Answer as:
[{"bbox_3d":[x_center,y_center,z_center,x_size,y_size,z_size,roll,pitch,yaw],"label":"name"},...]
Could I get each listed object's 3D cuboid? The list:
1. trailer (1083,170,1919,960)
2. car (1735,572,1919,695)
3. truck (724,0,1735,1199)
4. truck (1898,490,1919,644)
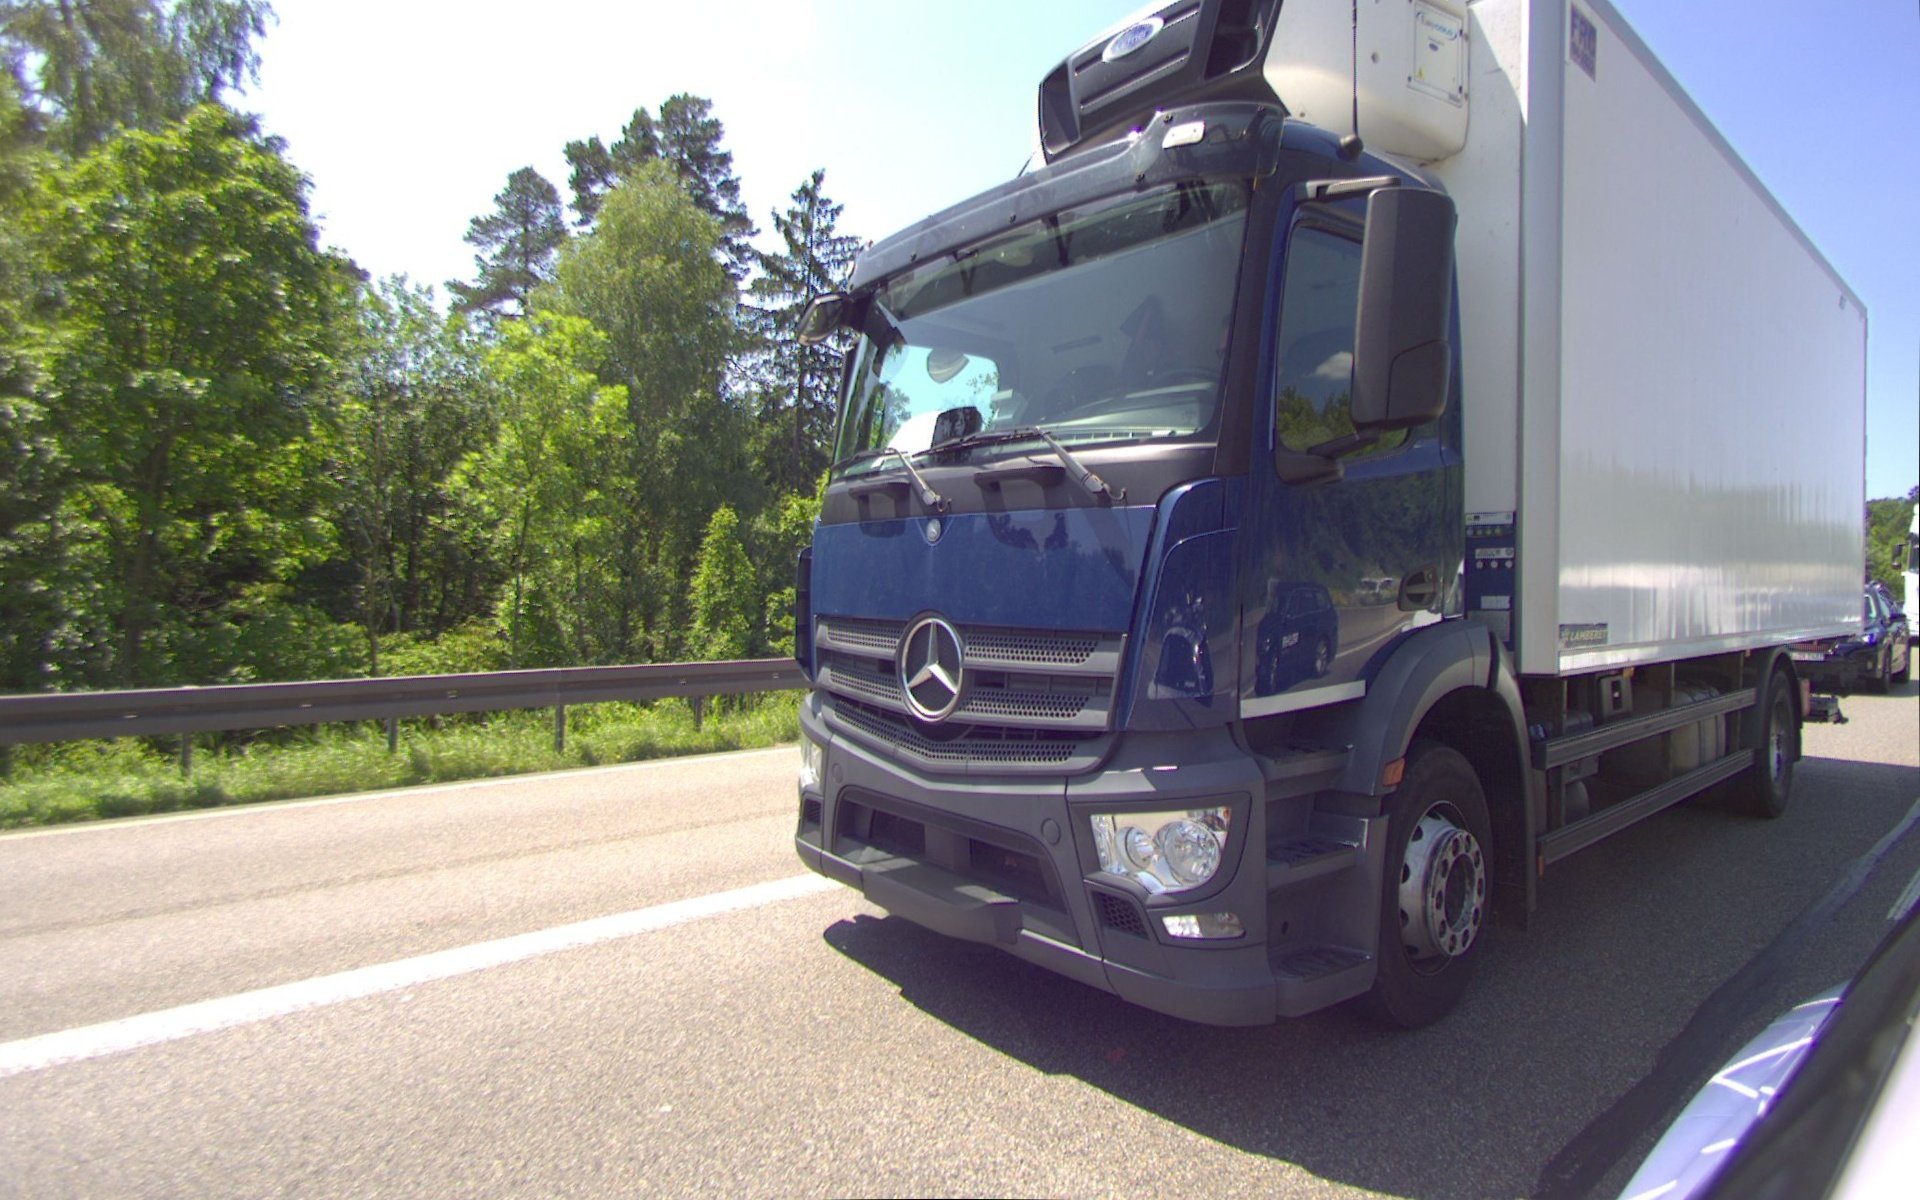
[{"bbox_3d":[4.486,-0.178,7.226,7.741,2.935,2.561,-1,1,-39],"label":"trailer"},{"bbox_3d":[14.584,0.415,16.799,4.534,1.713,1.996,-2,3,-43],"label":"car"},{"bbox_3d":[1.358,-0.116,4.594,4.031,2.976,2.562,-2,2,-39],"label":"truck"},{"bbox_3d":[29.161,-0.964,28.792,7.205,4.135,2.765,-2,1,-40],"label":"truck"}]
